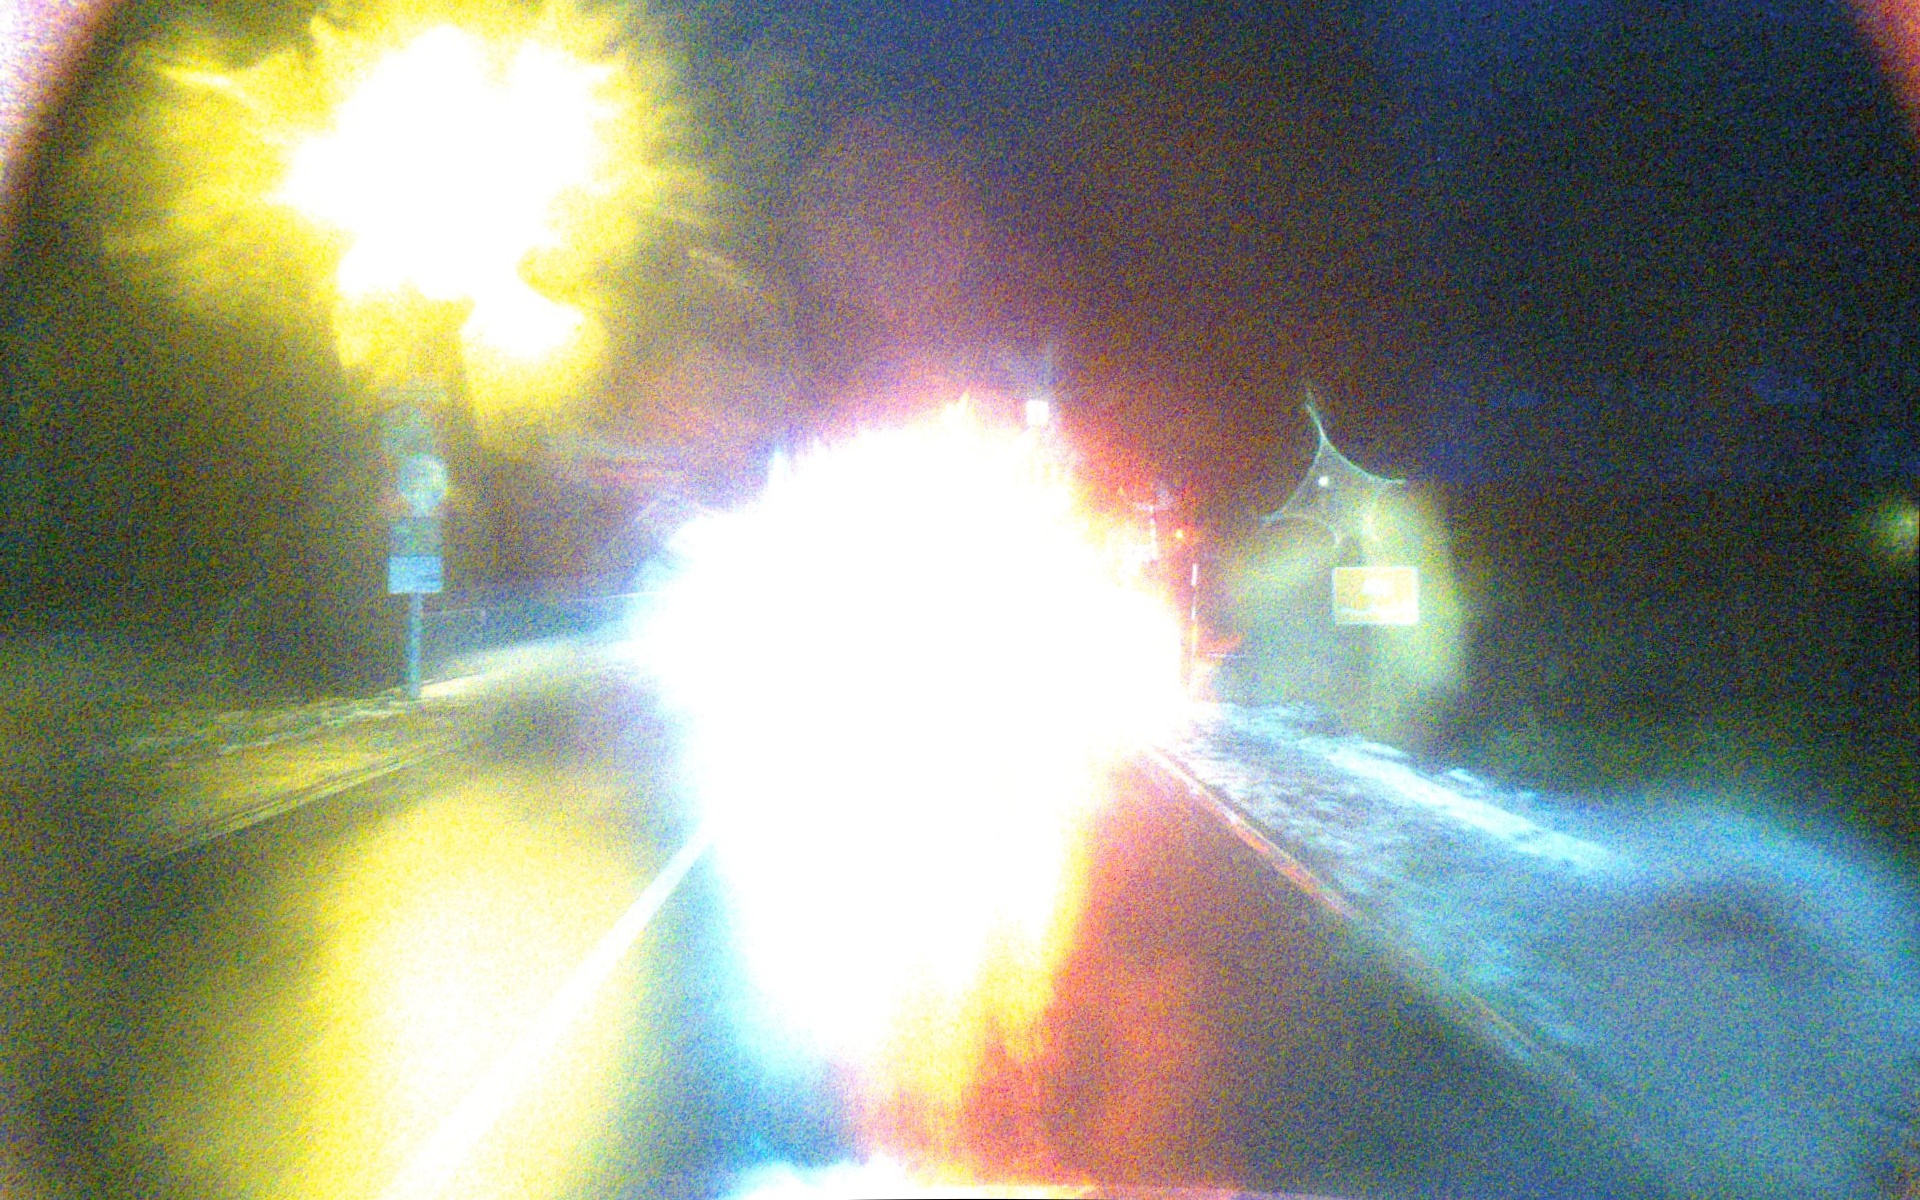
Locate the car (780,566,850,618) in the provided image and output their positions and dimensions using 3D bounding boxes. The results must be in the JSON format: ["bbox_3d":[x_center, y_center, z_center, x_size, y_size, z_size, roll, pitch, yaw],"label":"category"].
[{"bbox_3d":[-4.845,-0.269,55.823,1.835,1.572,4.355,-4,0,0],"label":"car"}]

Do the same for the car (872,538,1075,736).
[{"bbox_3d":[0.156,0.303,16.582,1.754,1.710,3.905,-1,1,1],"label":"car"}]
